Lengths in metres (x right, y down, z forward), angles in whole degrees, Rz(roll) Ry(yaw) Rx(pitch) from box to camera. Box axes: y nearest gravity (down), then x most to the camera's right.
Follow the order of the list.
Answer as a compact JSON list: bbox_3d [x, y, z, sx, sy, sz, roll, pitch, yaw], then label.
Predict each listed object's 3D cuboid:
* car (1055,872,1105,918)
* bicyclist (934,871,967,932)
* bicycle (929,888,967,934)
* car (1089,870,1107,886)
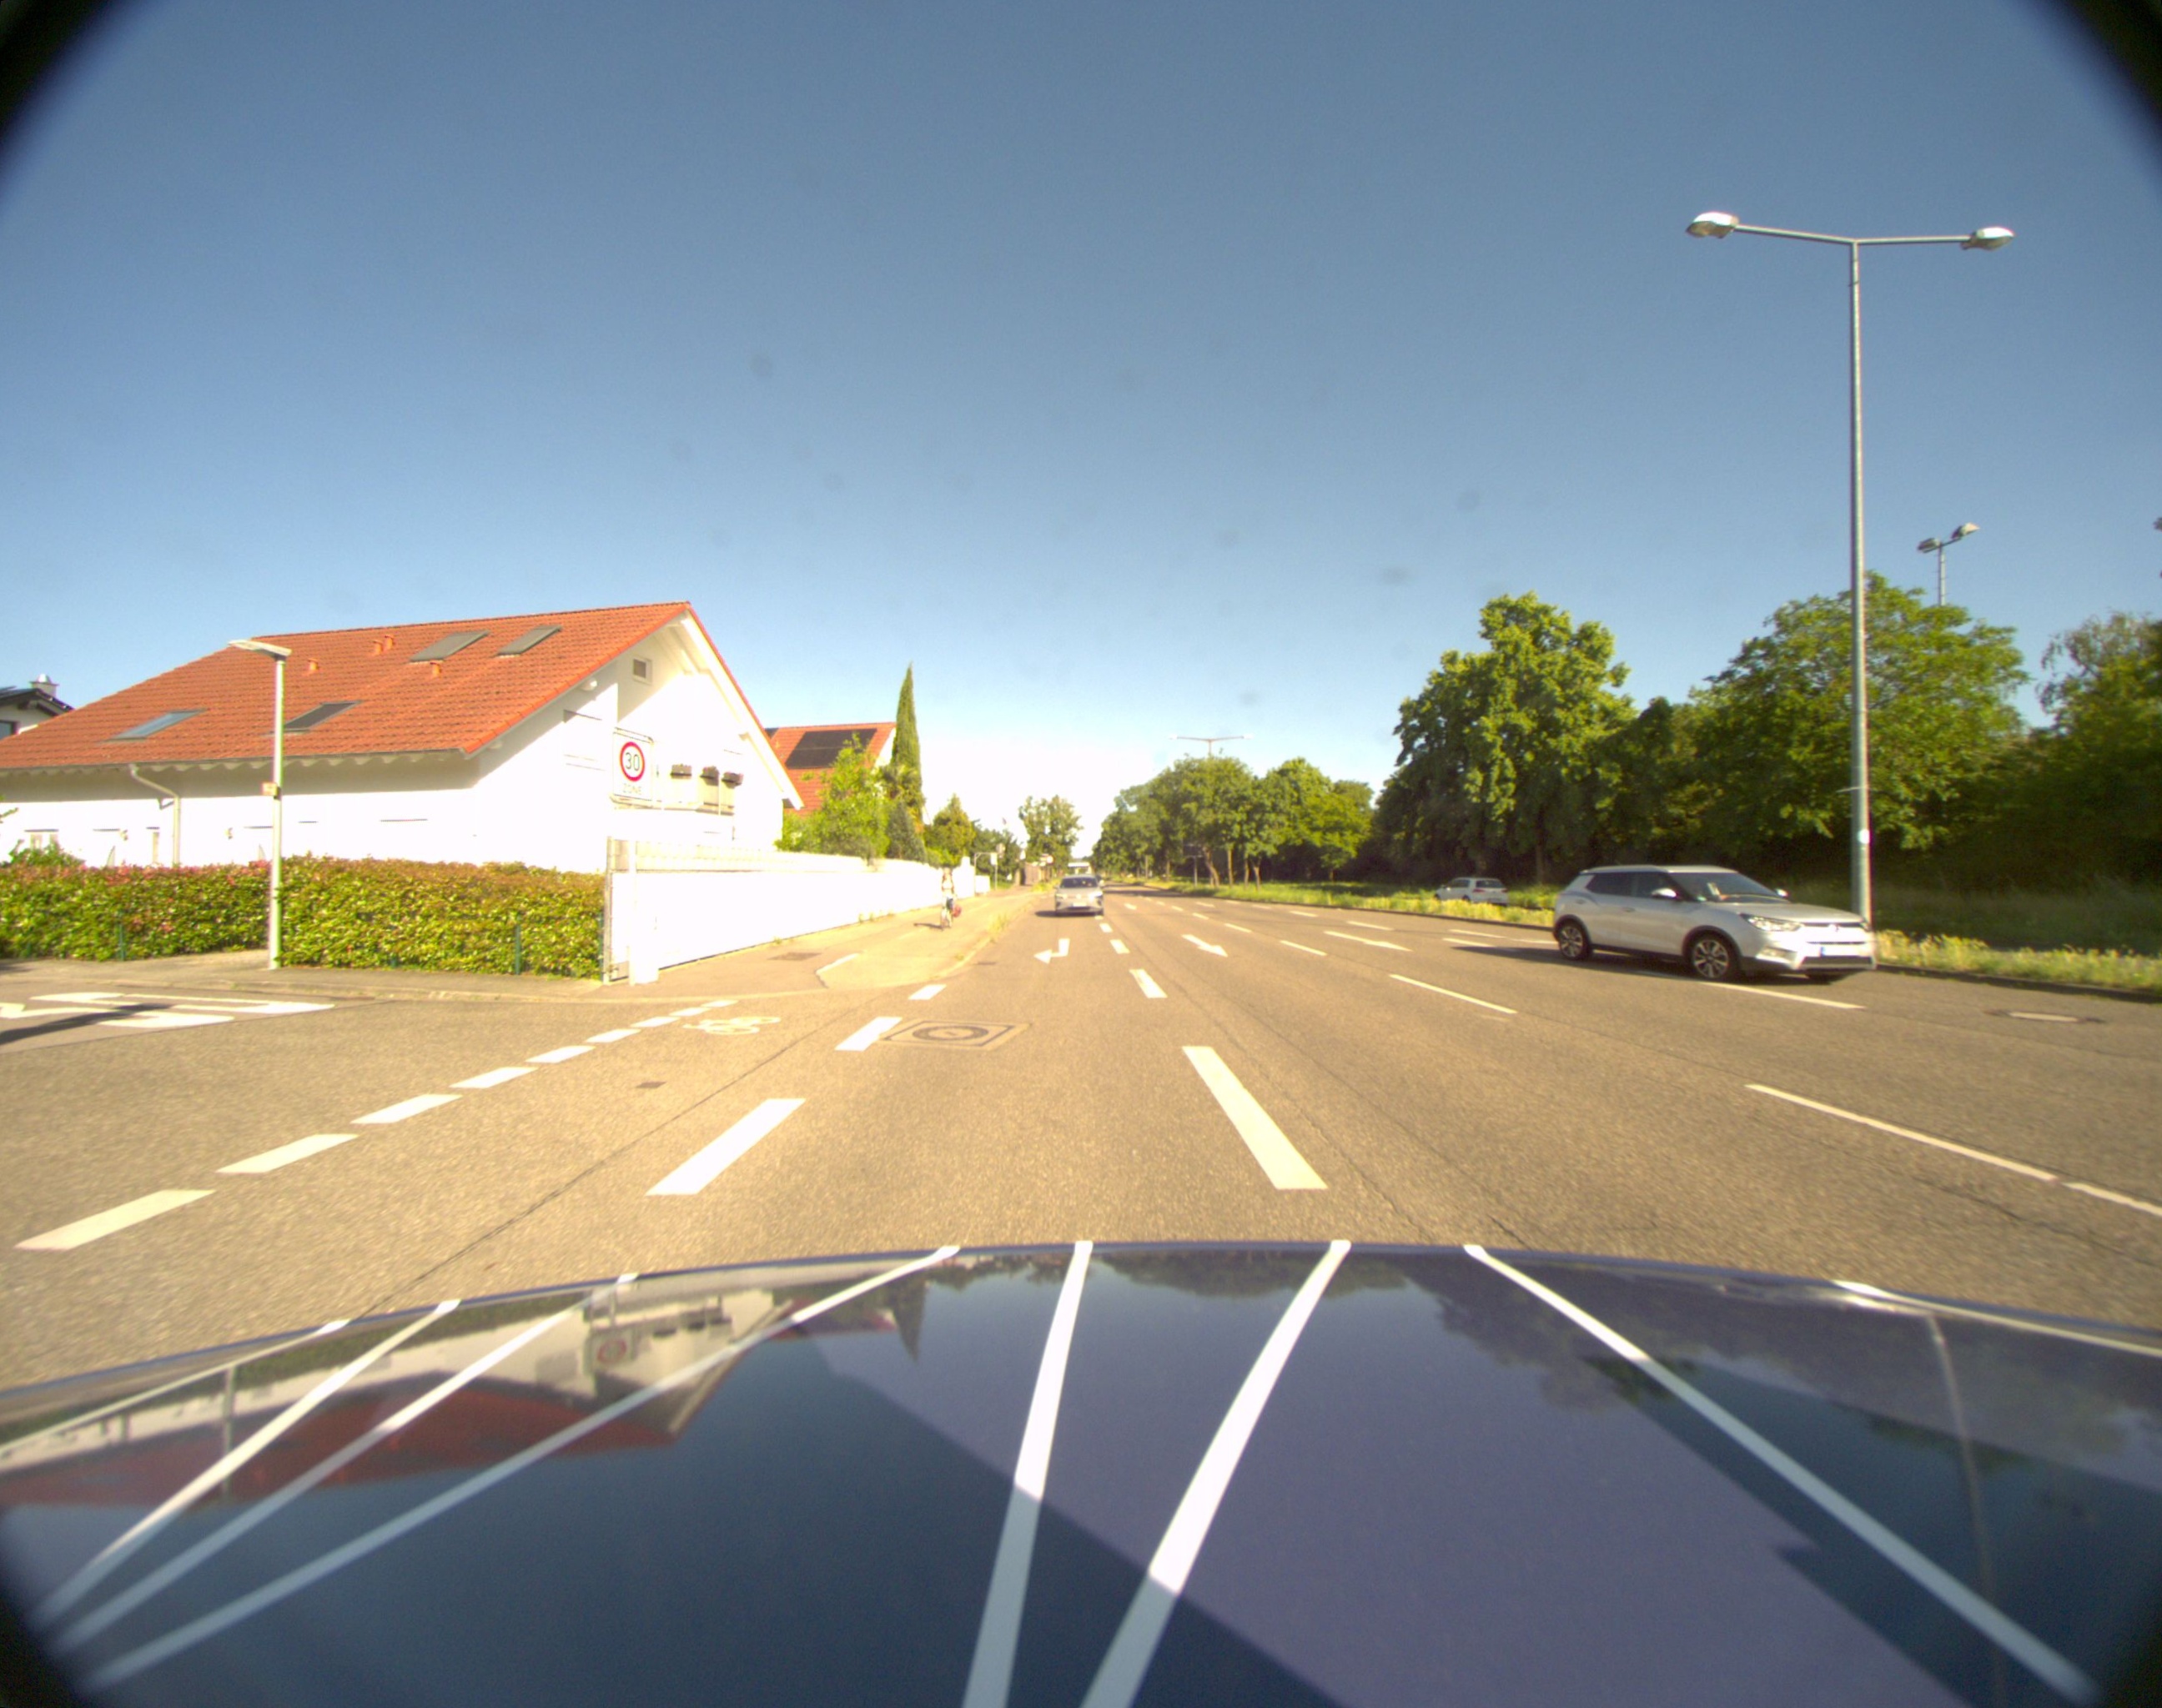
[{"bbox_3d":[-0.065,1.576,30.522,1.766,1.606,4.297,-3,-1,-1],"label":"car"},{"bbox_3d":[-3.608,1.312,21.073,0.631,1.623,0.982,2,-1,2],"label":"bicyclist"},{"bbox_3d":[-3.638,1.547,20.945,0.575,1.148,2.141,2,-2,2],"label":"bicycle"},{"bbox_3d":[1.809,2.562,82.769,1.766,1.606,4.297,-2,-1,-1],"label":"car"}]
